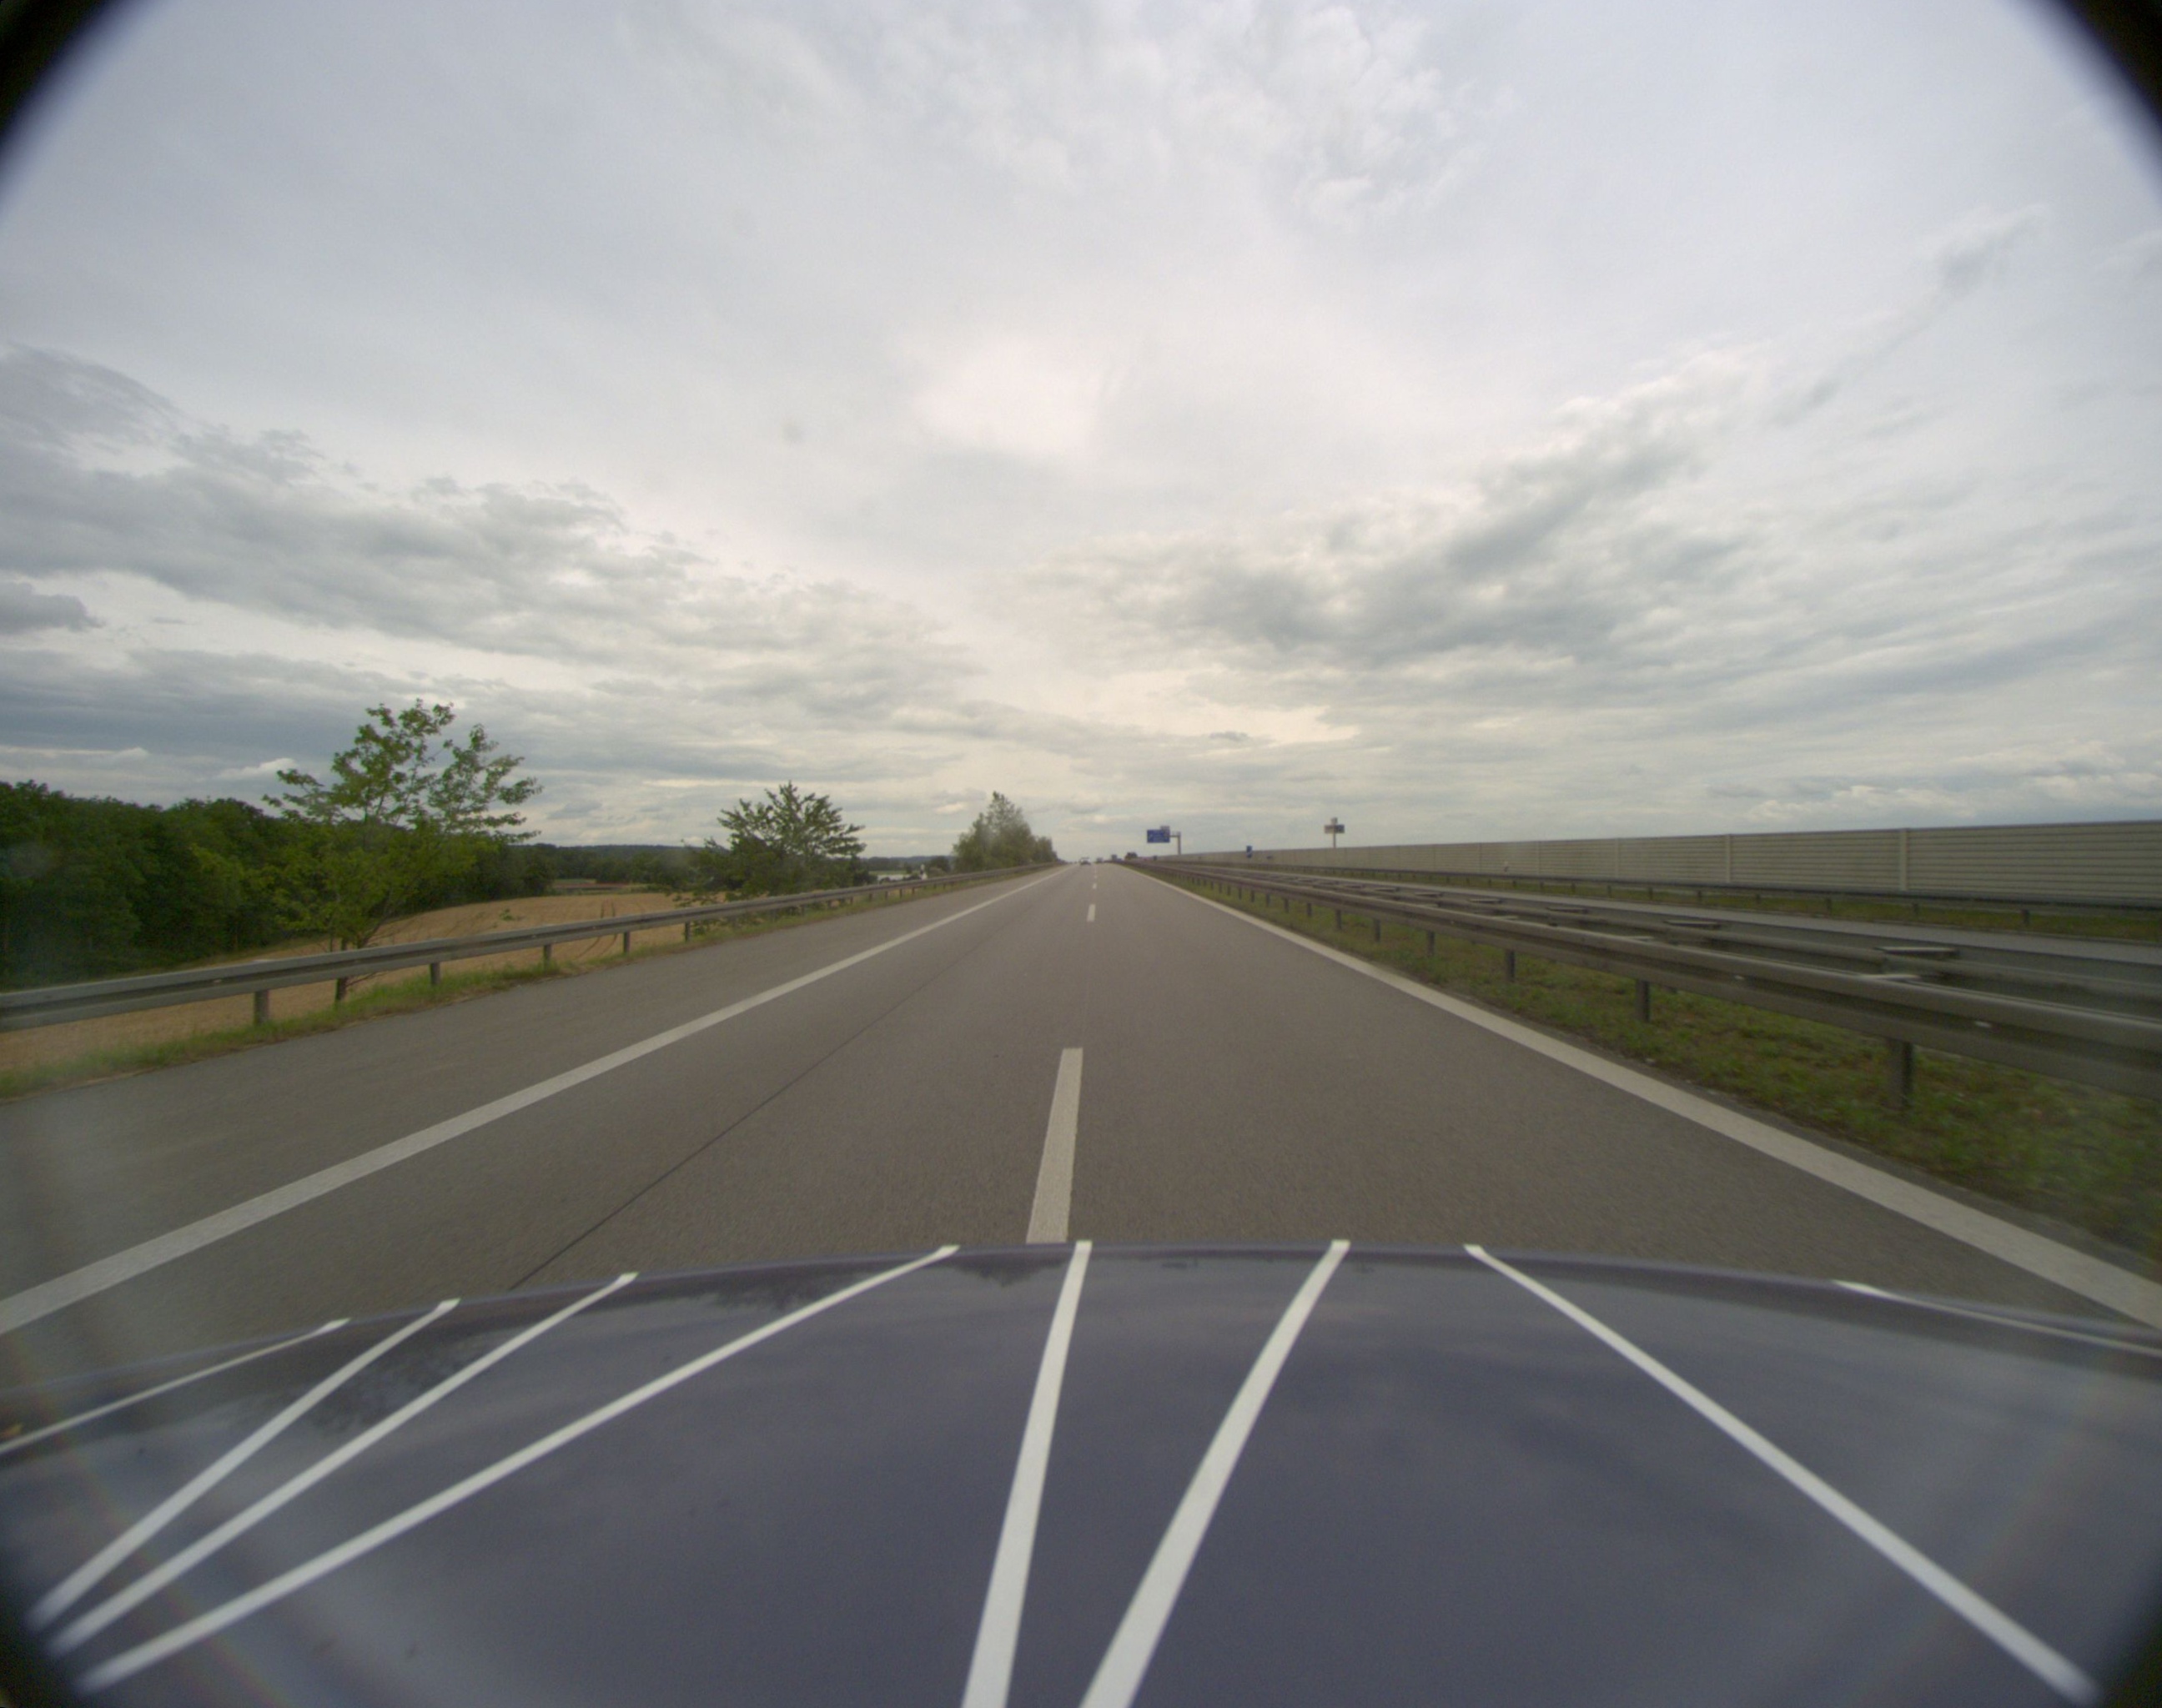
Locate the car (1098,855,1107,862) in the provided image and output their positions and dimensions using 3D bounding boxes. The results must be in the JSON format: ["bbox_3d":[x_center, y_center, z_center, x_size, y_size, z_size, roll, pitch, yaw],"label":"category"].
[{"bbox_3d":[4.986,1.028,177.399,1.850,1.664,4.200,0,-2,0],"label":"car"}]

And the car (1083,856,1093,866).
[{"bbox_3d":[1.307,1.254,139.751,1.850,1.664,4.200,0,-2,0],"label":"car"}]

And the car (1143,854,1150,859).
[{"bbox_3d":[19.090,0.676,223.086,1.662,1.321,4.609,3,0,1],"label":"car"}]
